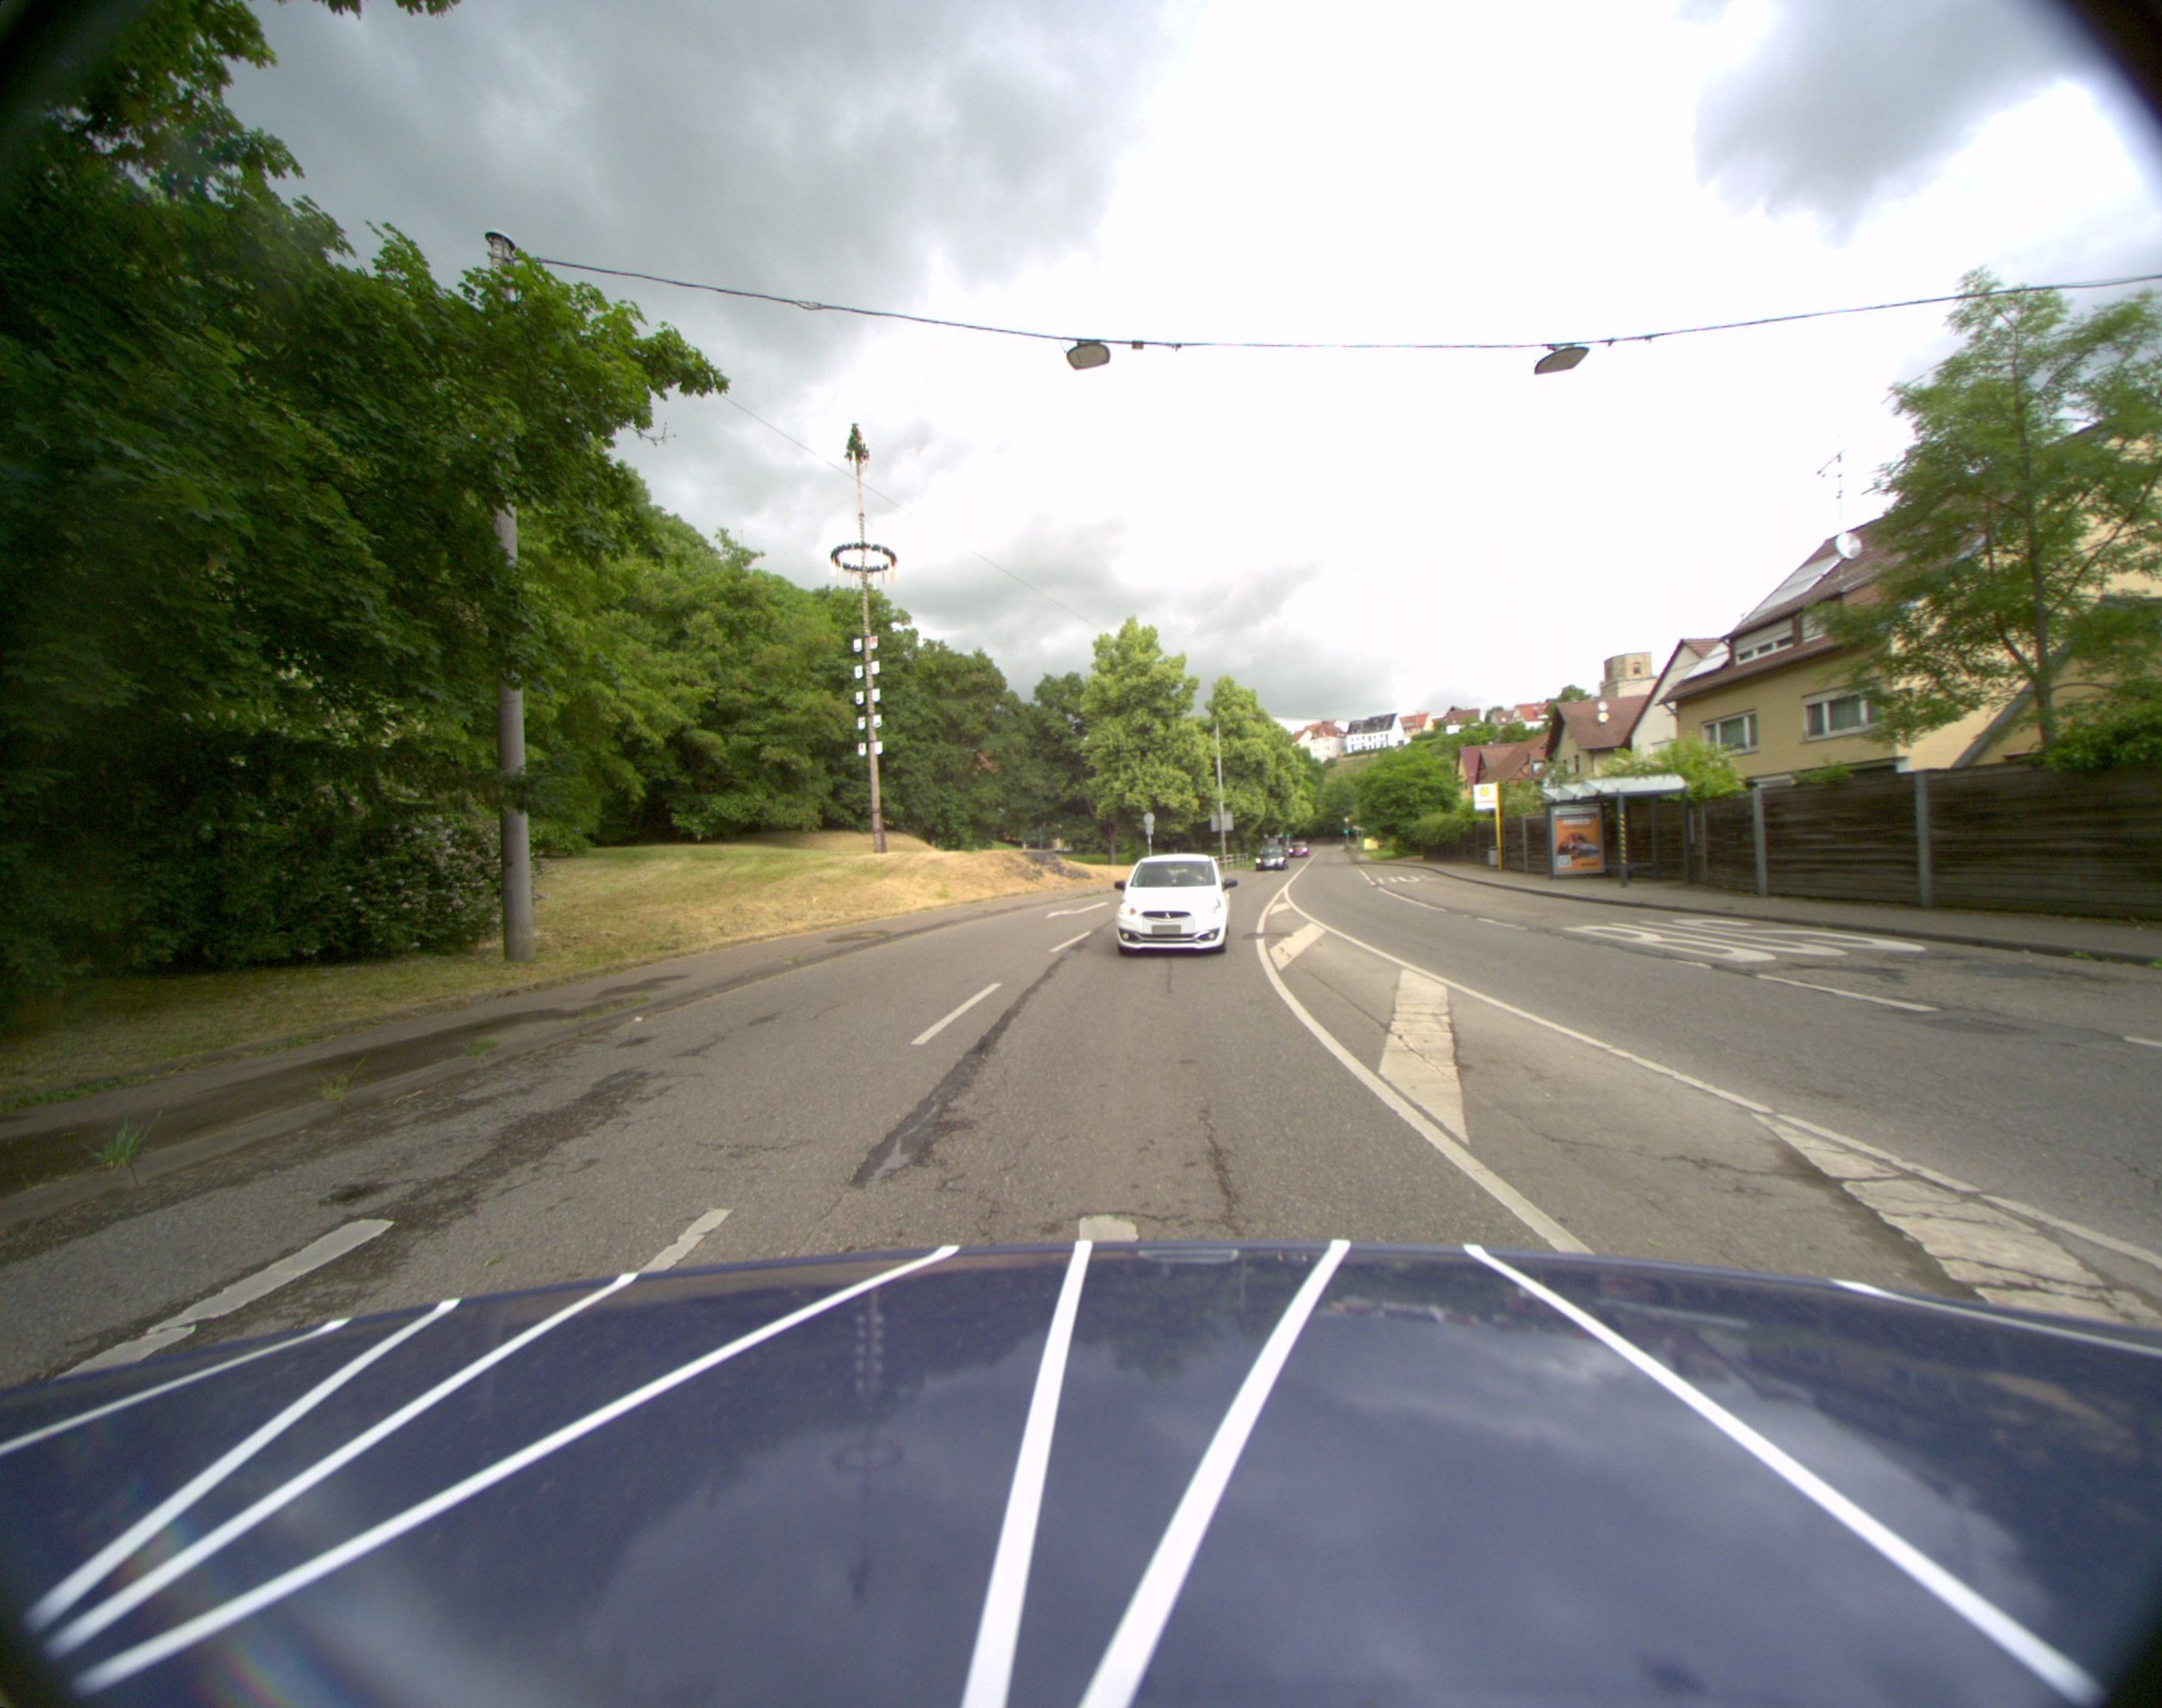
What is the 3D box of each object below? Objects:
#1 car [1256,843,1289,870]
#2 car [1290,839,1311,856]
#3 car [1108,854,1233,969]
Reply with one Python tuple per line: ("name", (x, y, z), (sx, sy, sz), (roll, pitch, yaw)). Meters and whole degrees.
("car", (11.925, 0.133, 47.207), (1.722, 1.539, 3.786), (-2, 1, 18))
("car", (23.490, -0.753, 81.271), (1.826, 1.662, 4.063), (-2, 1, 19))
("car", (1.580, 0.816, 12.318), (1.617, 1.505, 3.608), (-2, 1, 12))
